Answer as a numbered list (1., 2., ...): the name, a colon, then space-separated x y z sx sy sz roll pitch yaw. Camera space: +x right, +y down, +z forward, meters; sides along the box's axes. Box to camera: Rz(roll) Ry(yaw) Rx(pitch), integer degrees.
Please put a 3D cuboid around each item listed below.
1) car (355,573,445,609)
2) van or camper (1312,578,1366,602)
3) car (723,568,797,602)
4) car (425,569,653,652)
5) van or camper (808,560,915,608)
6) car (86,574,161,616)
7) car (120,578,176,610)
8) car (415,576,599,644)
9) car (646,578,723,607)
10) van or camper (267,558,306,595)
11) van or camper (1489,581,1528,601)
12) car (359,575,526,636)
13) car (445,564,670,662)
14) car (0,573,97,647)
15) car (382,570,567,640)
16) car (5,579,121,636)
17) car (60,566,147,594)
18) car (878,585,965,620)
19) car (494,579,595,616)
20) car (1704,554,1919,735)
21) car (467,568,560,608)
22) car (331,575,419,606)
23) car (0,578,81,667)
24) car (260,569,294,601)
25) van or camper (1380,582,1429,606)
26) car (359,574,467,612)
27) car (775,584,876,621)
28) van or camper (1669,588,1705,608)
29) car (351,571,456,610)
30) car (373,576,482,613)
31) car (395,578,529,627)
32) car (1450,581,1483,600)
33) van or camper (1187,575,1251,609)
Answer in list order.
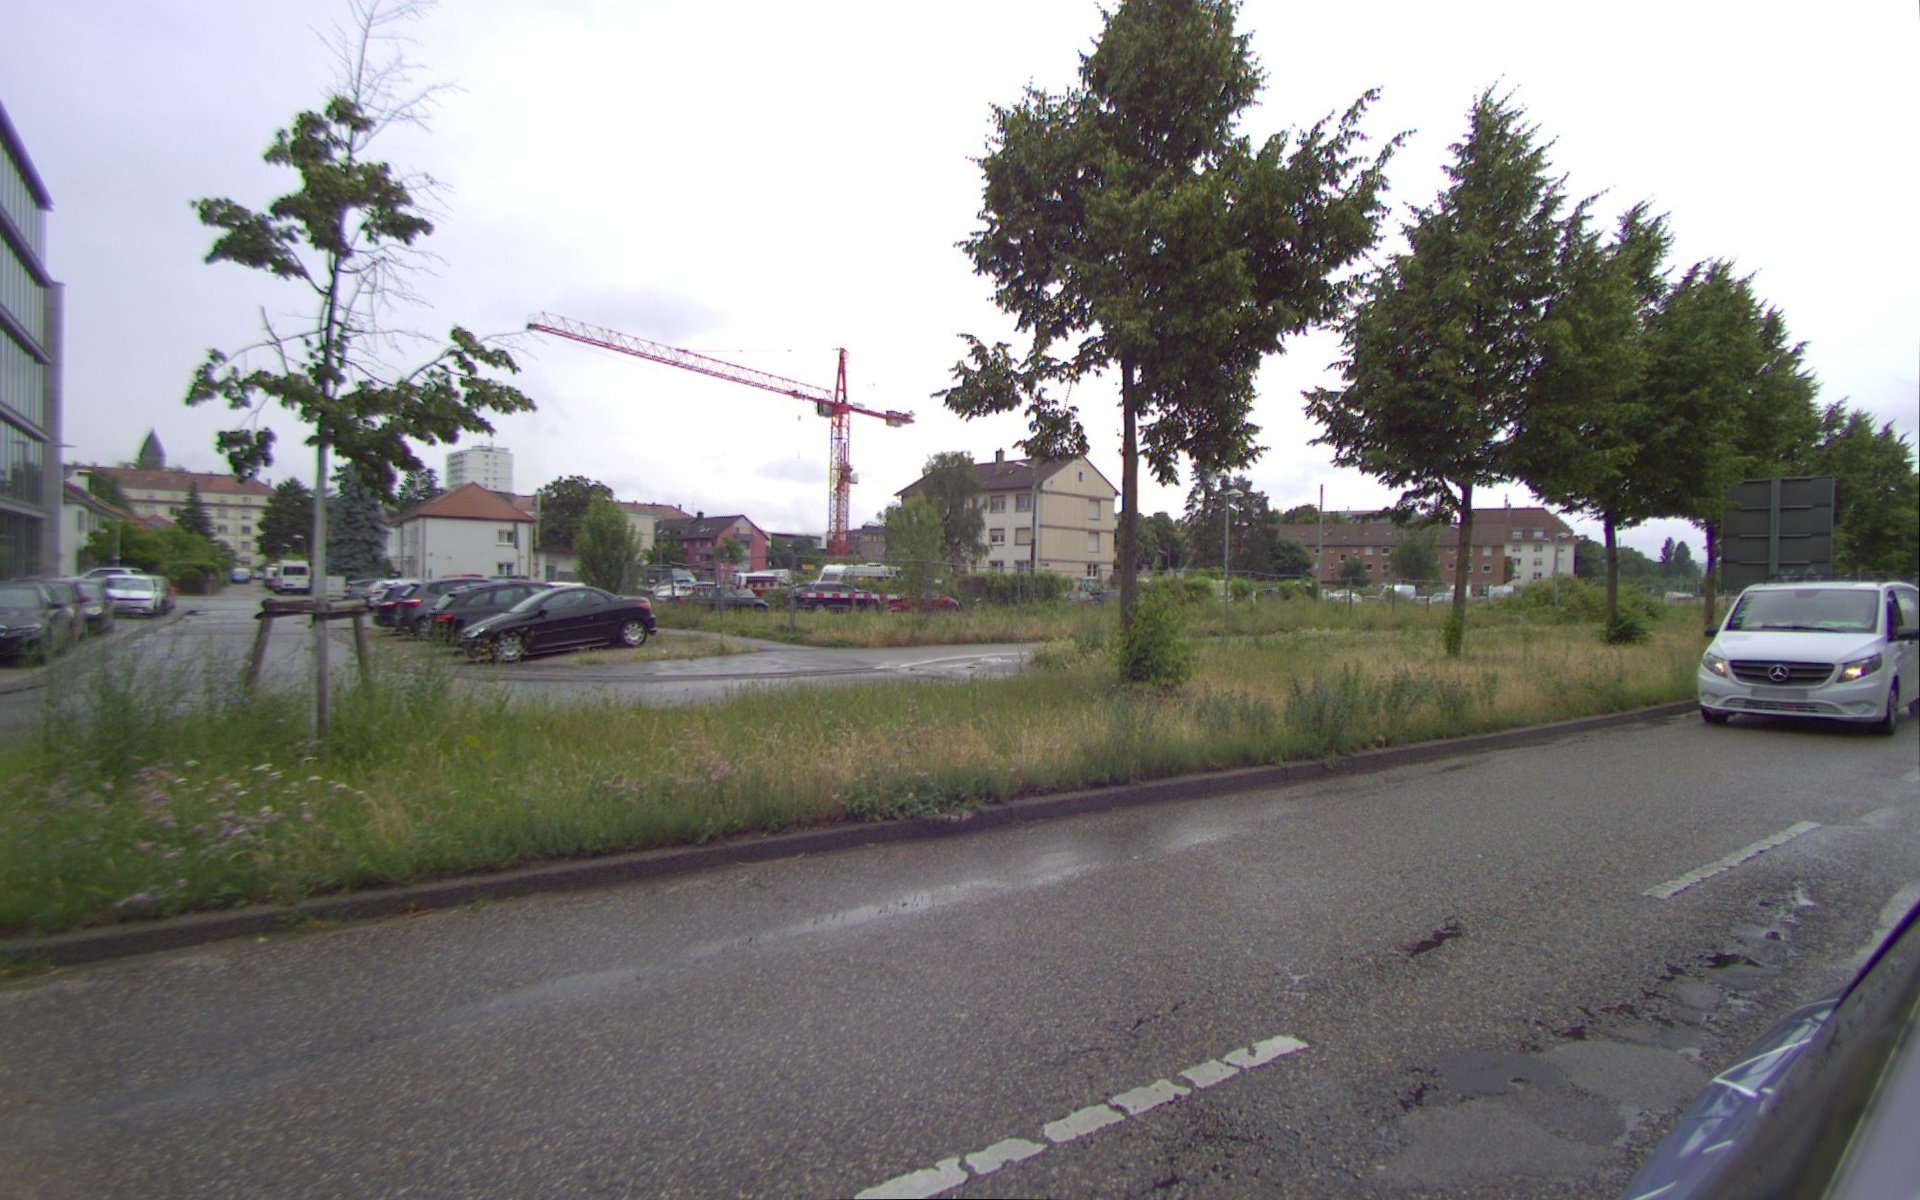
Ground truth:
1. car: -29.256 -0.504 52.961 3.730 1.621 1.857 -5 4 -43
2. van or camper: 38.582 -1.021 102.930 6.537 2.337 2.504 0 -1 -44
3. car: -12.144 -0.895 61.630 4.091 2.030 1.699 0 1 -40
4. car: -9.601 0.159 23.257 4.474 1.472 1.861 -5 4 -36
5. van or camper: -6.481 -1.010 67.105 6.658 3.031 2.912 0 1 -41
6. car: -31.568 -0.200 38.275 1.825 1.456 4.000 2 0 -35
7. car: -38.751 -0.308 48.399 1.826 1.434 4.000 0 1 -35
8. car: -11.437 0.188 25.636 3.926 1.472 1.861 -3 3 -36
9. car: -15.819 -0.419 58.215 3.961 1.601 1.699 0 1 -41
10. van or camper: -50.711 -1.732 76.153 2.054 2.617 5.629 1 0 -37
11. van or camper: 64.399 -1.003 118.749 6.046 2.337 2.204 0 -1 -44
12. car: -15.324 0.115 30.063 4.152 1.492 1.791 -4 3 -36
13. car: -8.223 0.204 20.774 3.926 1.599 1.861 -5 3 -34
14. car: -21.254 0.189 23.254 1.826 1.507 3.999 3 -1 -37
15. car: -13.451 0.072 28.164 4.335 1.621 1.861 -4 3 -36
16. car: -23.820 0.169 27.023 1.825 1.390 4.000 2 0 -35
17. car: -51.560 -1.213 60.973 3.930 1.602 1.858 0 1 -41
18. car: -1.884 0.120 49.964 3.924 1.621 1.861 0 1 -36
19. car: -19.143 -0.160 46.720 3.963 1.463 1.699 -5 4 -40
20. car: 11.883 0.461 13.667 5.004 2.004 1.970 0 1 -42
21. car: -22.404 -0.628 50.819 3.956 1.732 1.702 -4 3 -33
22. car: -32.953 -0.561 57.067 3.967 1.472 1.857 -5 4 -43
23. car: -17.615 0.339 18.439 1.943 1.456 4.232 3 -1 -35
24. car: -62.495 -1.342 92.576 2.186 2.817 4.500 0 -1 -38
25. van or camper: 49.375 -0.630 112.456 6.312 2.568 2.778 0 -1 -44
26. car: -25.070 -0.347 46.432 3.967 1.514 1.857 -5 4 -43
27. car: -6.074 0.110 45.896 4.153 1.621 1.861 0 1 -36
28. van or camper: 109.717 -0.307 152.672 5.400 3.073 2.349 0 -1 -30
29. car: -26.306 -0.484 47.888 3.967 1.621 1.857 -5 4 -43
30. car: -23.543 -0.263 44.830 3.965 1.369 1.698 -5 4 -42
31. car: -17.226 0.080 35.040 3.924 1.621 1.861 0 1 -36
32. car: 63.484 -1.170 126.806 4.682 2.248 2.273 0 0 -45
33. van or camper: 22.259 -0.676 86.778 6.290 2.723 2.311 0 1 -44
